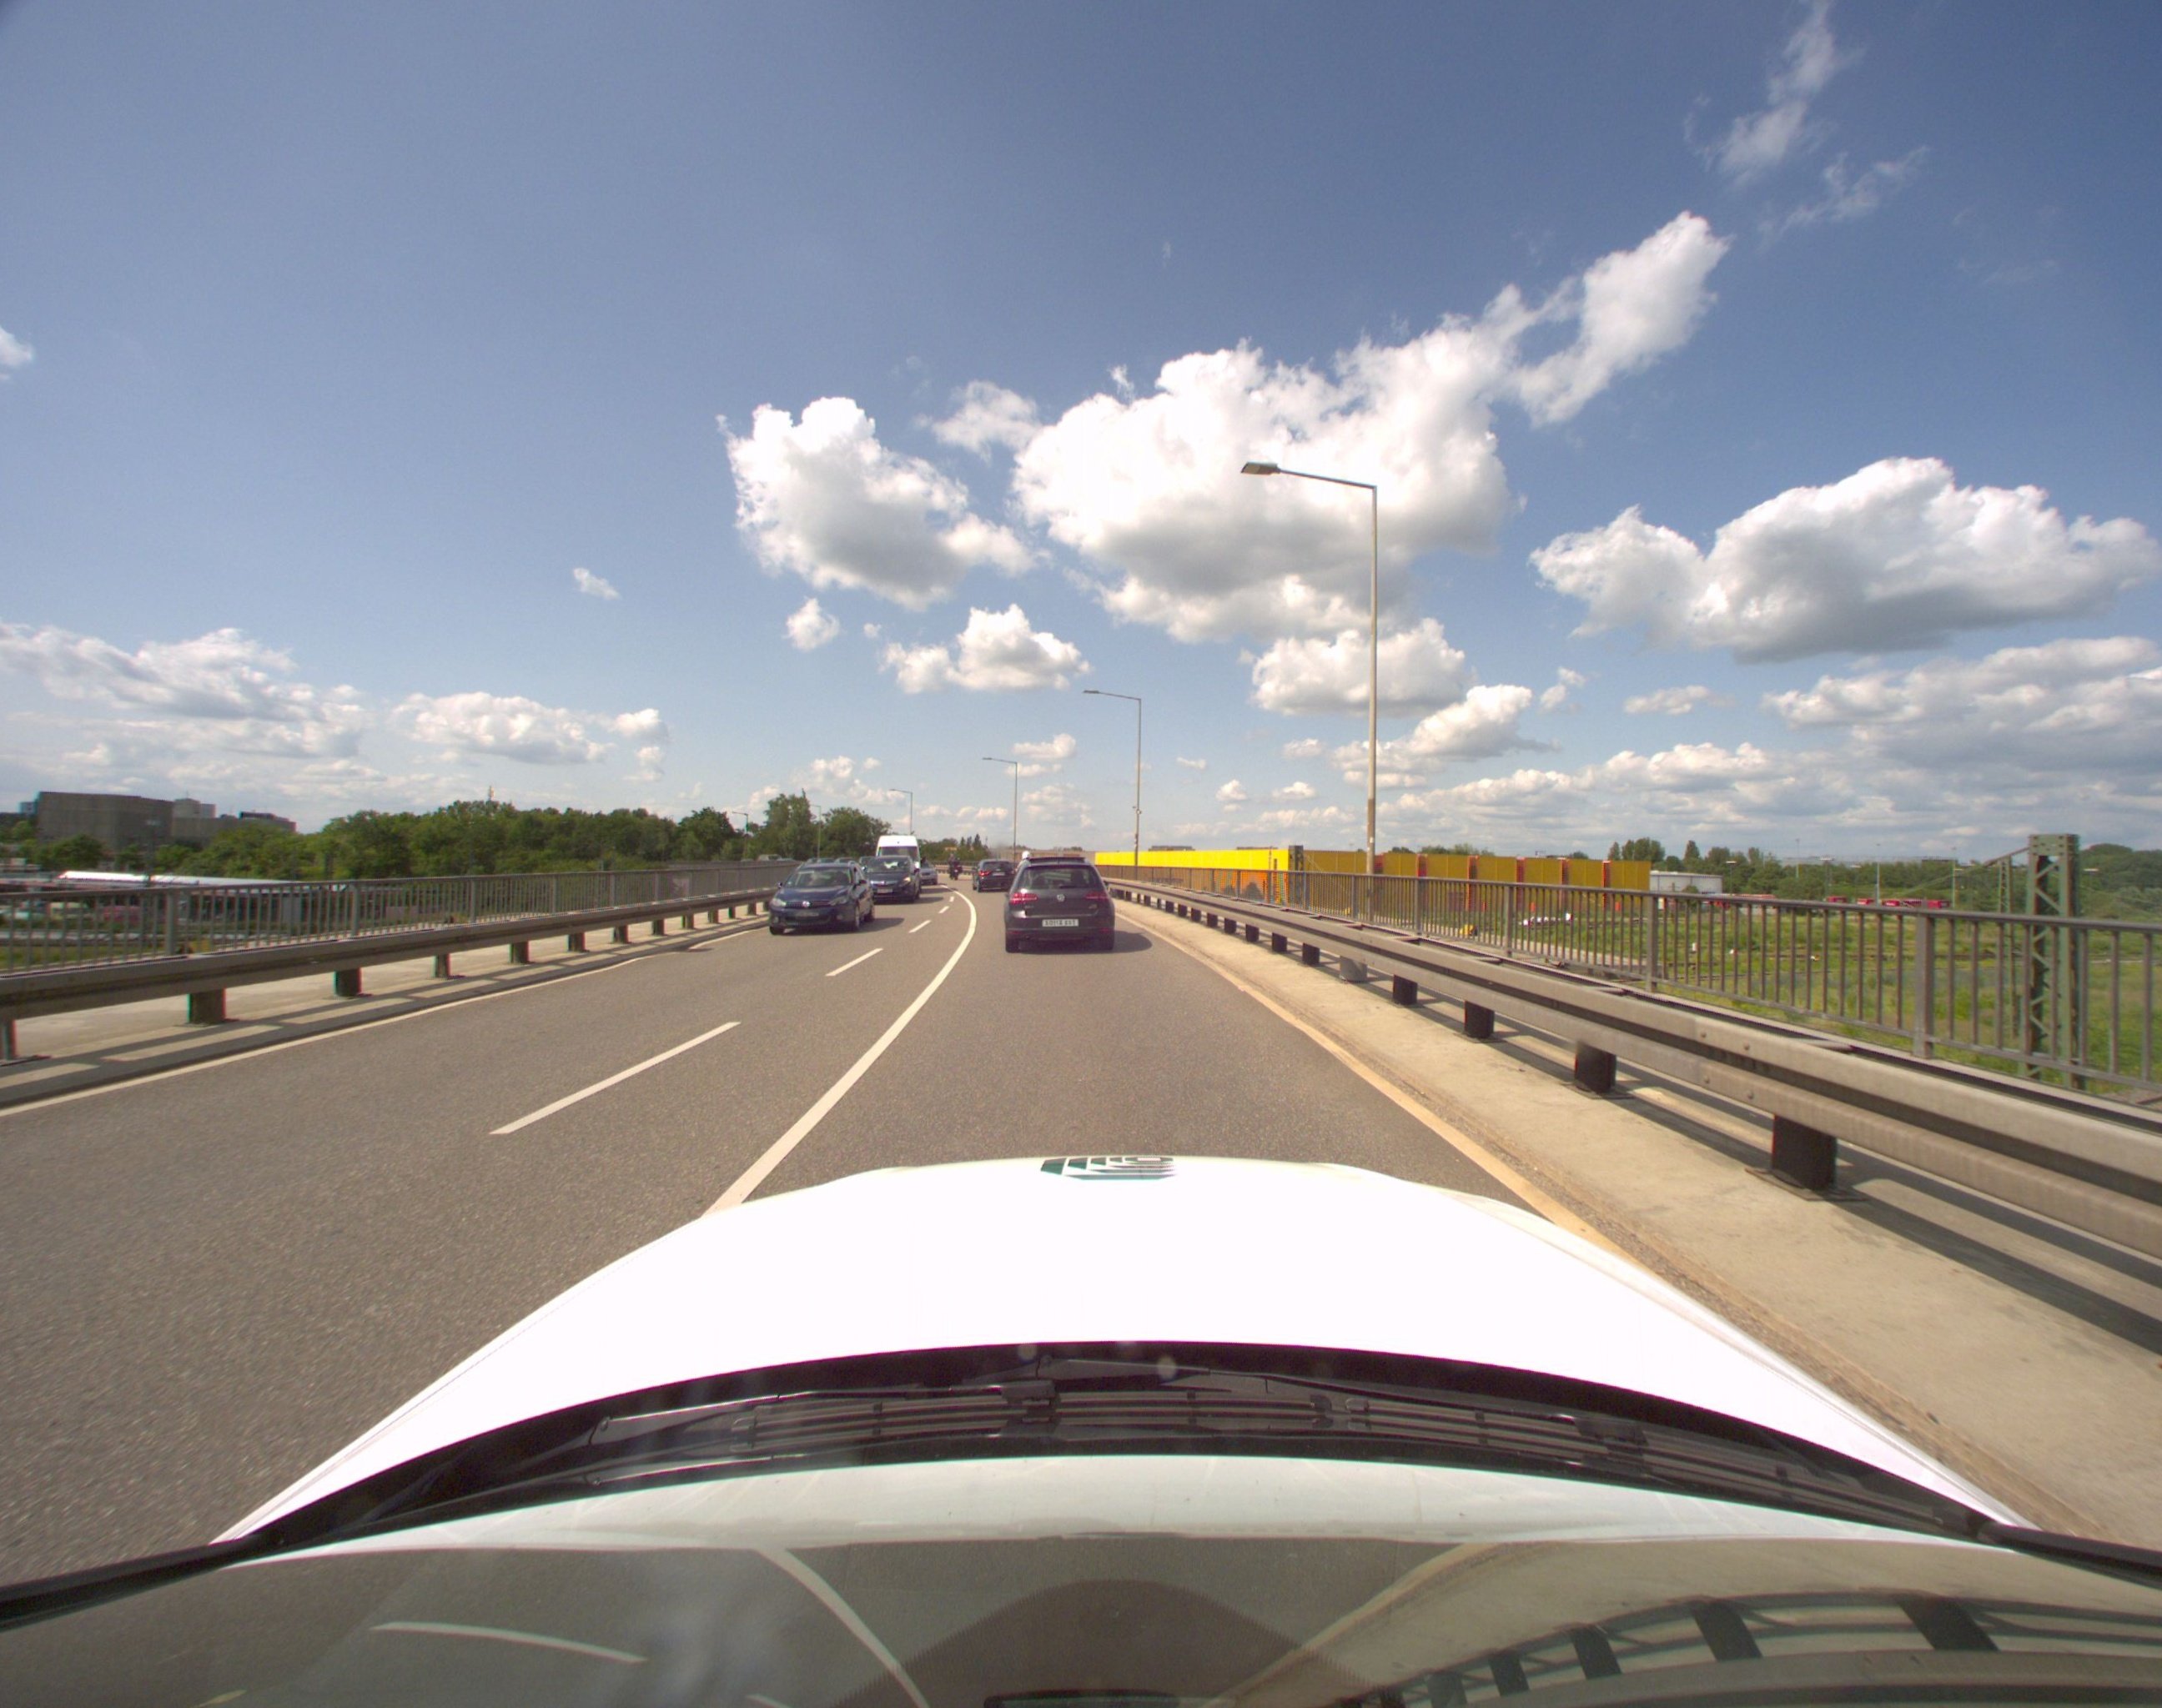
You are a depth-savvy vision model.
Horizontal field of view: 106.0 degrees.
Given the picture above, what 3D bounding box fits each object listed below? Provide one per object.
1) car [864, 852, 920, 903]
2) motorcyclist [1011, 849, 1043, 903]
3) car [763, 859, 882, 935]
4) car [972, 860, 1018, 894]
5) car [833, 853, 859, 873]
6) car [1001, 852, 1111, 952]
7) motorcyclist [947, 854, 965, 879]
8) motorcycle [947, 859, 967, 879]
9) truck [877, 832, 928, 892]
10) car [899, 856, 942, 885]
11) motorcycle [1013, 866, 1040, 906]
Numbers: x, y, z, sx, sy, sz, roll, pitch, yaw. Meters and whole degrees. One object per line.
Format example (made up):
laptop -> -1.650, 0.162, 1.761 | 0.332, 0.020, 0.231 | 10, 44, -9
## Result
car -> -6.601, 0.787, 28.838 | 1.718, 1.632, 4.411 | -1, 0, -11
motorcyclist -> -1.702, 0.674, 25.393 | 0.964, 1.620, 1.123 | 0, 0, -5
car -> -5.664, 0.867, 18.384 | 1.656, 1.454, 4.318 | -1, 0, -6
car -> -3.846, 0.988, 36.036 | 1.682, 1.388, 3.724 | -1, -1, -11
car -> -20.695, 0.774, 71.514 | 1.691, 1.596, 4.250 | -2, 1, -23
car -> -0.328, 0.733, 14.105 | 1.636, 1.479, 3.873 | 0, 0, 1
motorcyclist -> -8.000, 0.776, 52.259 | 0.969, 1.596, 1.117 | 0, 0, -19
motorcycle -> -7.971, 0.941, 52.201 | 0.890, 1.247, 2.384 | 0, 0, -18
truck -> -8.201, 0.331, 37.027 | 1.997, 2.507, 5.917 | -1, 0, -15
car -> -8.943, 0.898, 45.169 | 1.771, 1.460, 4.271 | -2, 0, -18
motorcycle -> -1.706, 0.954, 25.289 | 0.788, 1.132, 2.395 | 0, 0, -5
